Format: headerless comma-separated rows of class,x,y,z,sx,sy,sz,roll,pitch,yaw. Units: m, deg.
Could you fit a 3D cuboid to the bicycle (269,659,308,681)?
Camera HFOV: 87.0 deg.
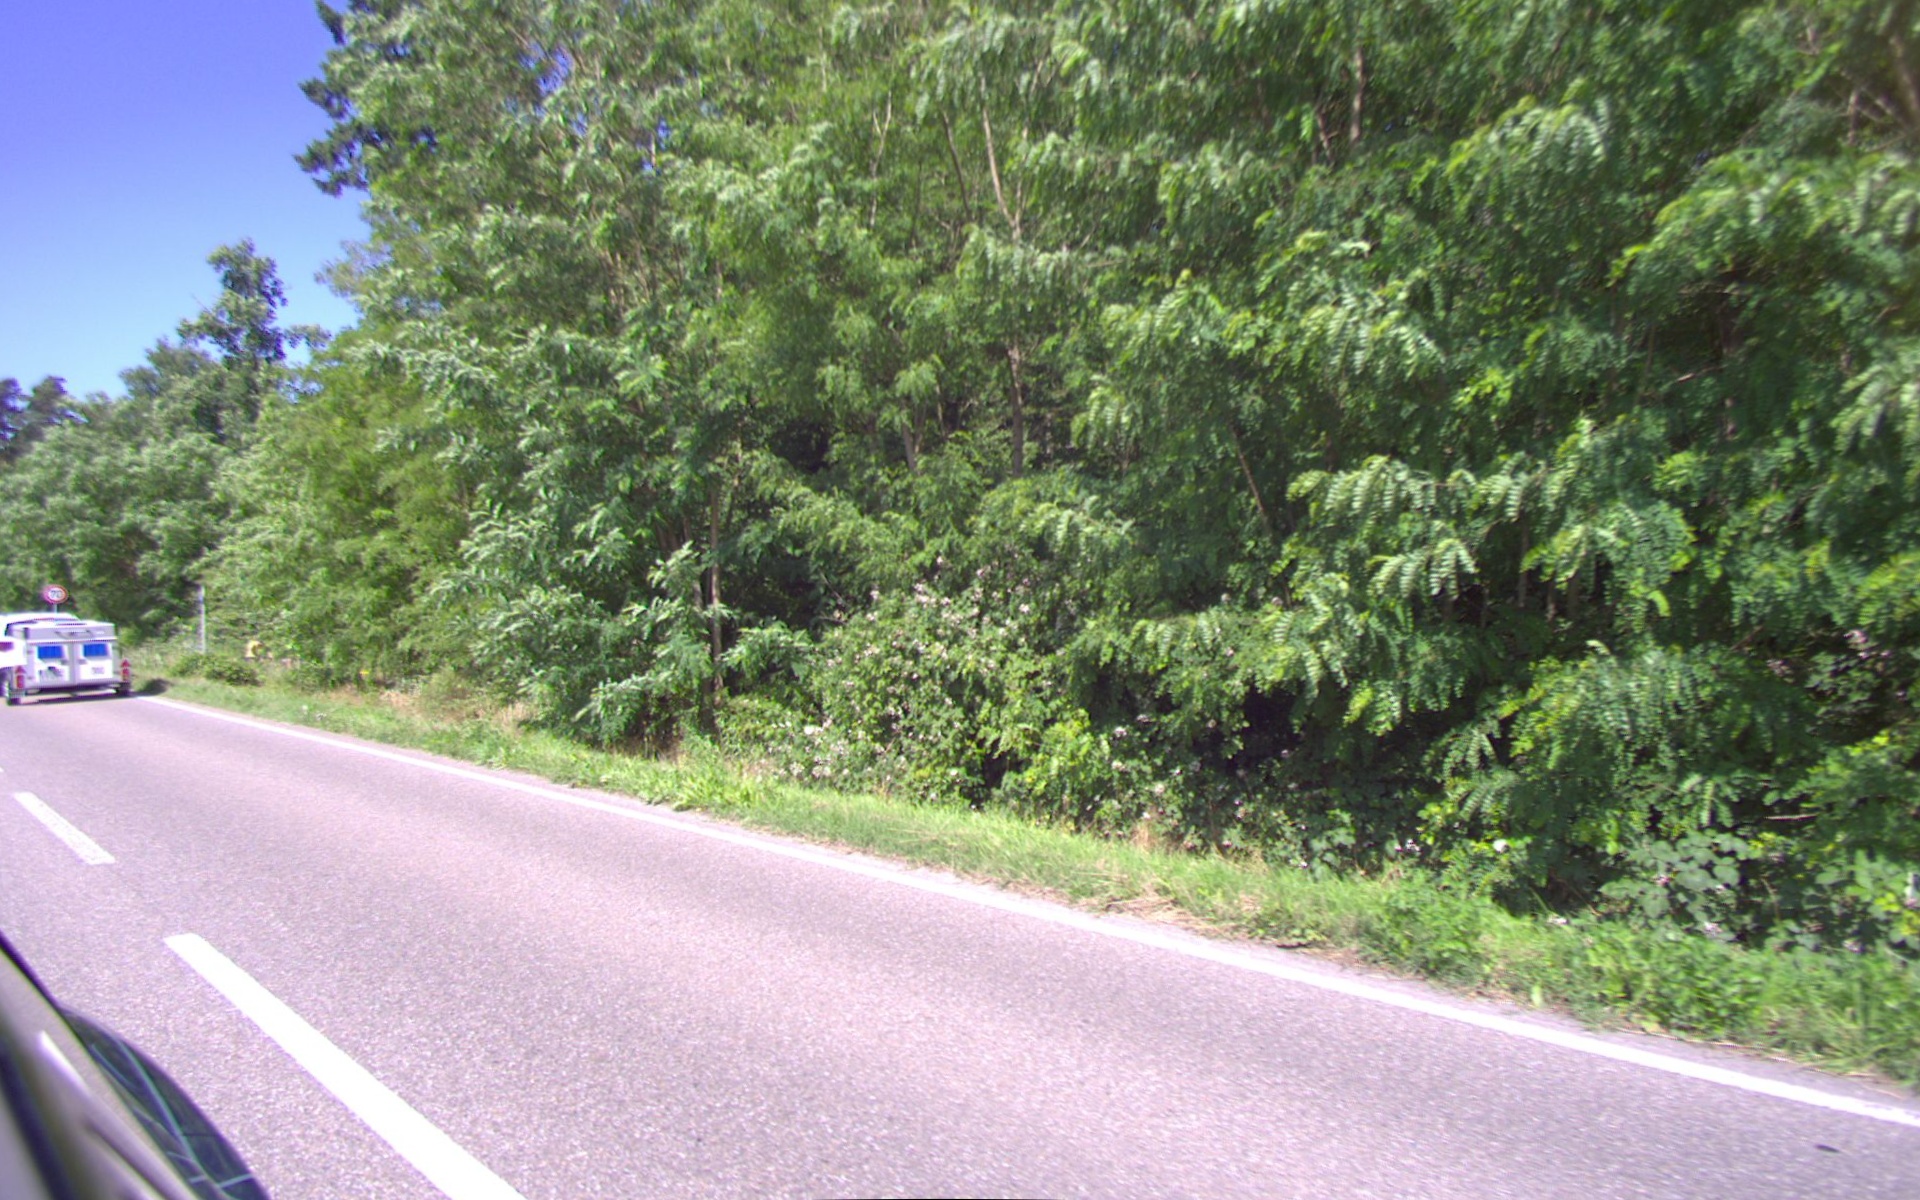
bicycle,-23.603,2.446,35.537,2.136,0.686,0.612,-2,-2,41

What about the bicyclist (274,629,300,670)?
bicyclist,-23.603,1.727,35.517,0.702,1.426,0.599,-2,-2,41

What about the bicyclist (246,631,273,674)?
bicyclist,-23.964,1.791,34.600,0.702,1.426,0.599,0,-1,41

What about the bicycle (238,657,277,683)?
bicycle,-24.023,2.388,34.603,2.136,0.794,0.633,-2,-2,42

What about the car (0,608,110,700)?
car,-18.964,1.085,20.689,3.997,1.689,1.791,-3,-1,41

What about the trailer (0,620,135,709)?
trailer,-16.242,1.101,18.271,3.266,1.452,1.543,-2,-2,41
